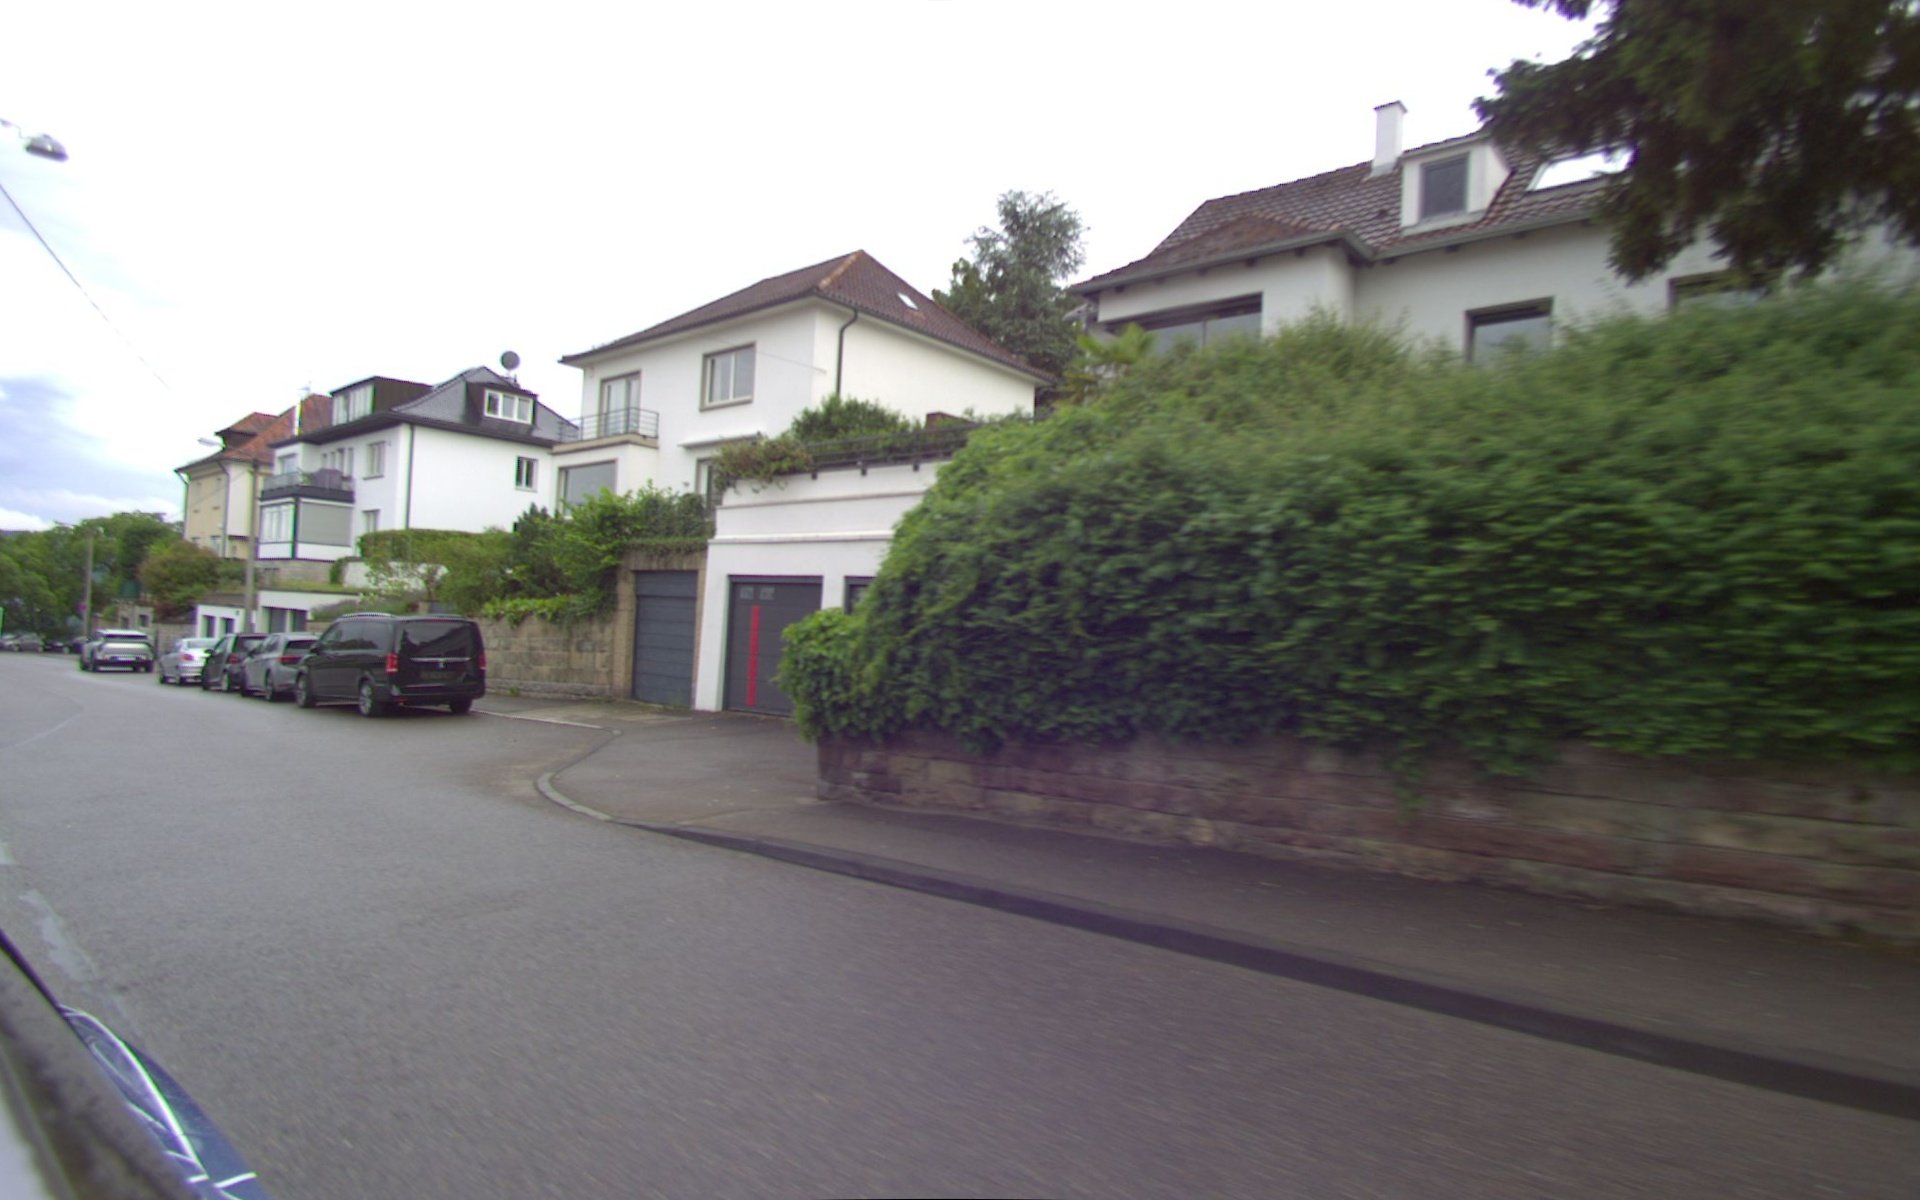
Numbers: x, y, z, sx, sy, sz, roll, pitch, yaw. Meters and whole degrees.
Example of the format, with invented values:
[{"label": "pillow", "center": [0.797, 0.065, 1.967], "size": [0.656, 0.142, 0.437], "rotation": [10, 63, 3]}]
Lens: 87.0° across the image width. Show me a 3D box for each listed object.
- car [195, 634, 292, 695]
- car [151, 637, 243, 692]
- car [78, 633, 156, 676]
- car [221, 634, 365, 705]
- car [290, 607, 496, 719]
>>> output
[{"label": "car", "center": [-19.182, 1.683, 27.058], "size": [2.893, 1.502, 1.502], "rotation": [-2, -2, 42]}, {"label": "car", "center": [-22.690, 1.868, 30.071], "size": [3.436, 1.502, 1.573], "rotation": [-2, -2, 42]}, {"label": "car", "center": [-32.170, 2.045, 38.587], "size": [4.001, 1.512, 1.843], "rotation": [-1, -3, 44]}, {"label": "car", "center": [-15.920, 1.581, 24.058], "size": [4.399, 1.502, 1.675], "rotation": [-2, -2, 40]}, {"label": "car", "center": [-11.330, 1.189, 20.087], "size": [4.769, 1.972, 1.974], "rotation": [-2, -2, 39]}]
